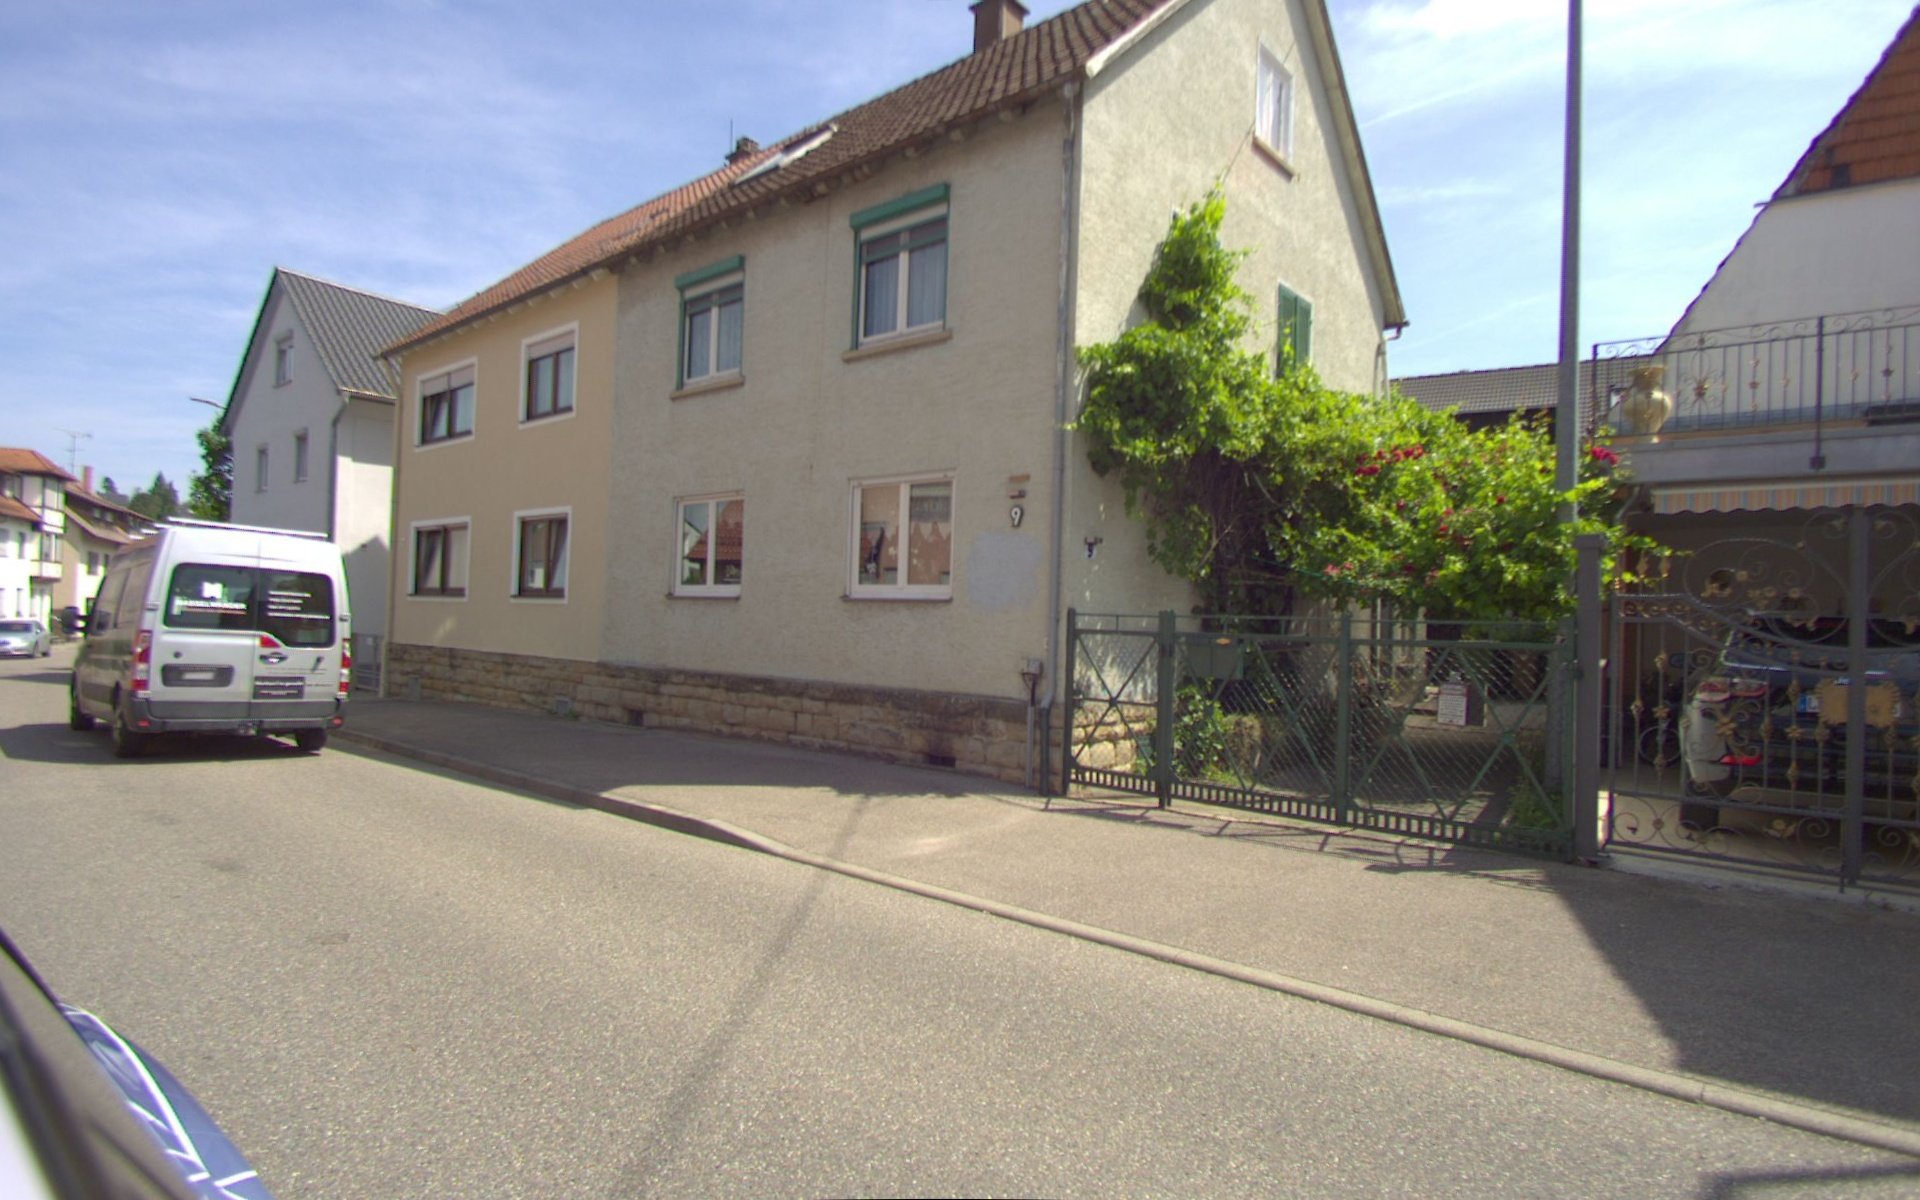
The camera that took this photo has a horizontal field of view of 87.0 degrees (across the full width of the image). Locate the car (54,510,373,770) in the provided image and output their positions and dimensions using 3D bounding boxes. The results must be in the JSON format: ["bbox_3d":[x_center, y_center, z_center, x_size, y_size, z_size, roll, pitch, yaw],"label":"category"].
[{"bbox_3d":[-9.625,0.479,12.804,5.827,2.582,2.091,-1,-3,43],"label":"car"}]

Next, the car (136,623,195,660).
[{"bbox_3d":[-36.025,1.895,45.977,1.775,1.567,4.081,3,-4,-34],"label":"car"}]

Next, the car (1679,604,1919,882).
[{"bbox_3d":[6.520,0.910,7.617,1.753,1.644,3.589,-1,-2,35],"label":"car"}]

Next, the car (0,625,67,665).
[{"bbox_3d":[-35.986,1.700,38.652,1.760,1.453,4.351,1,-2,-27],"label":"car"}]
